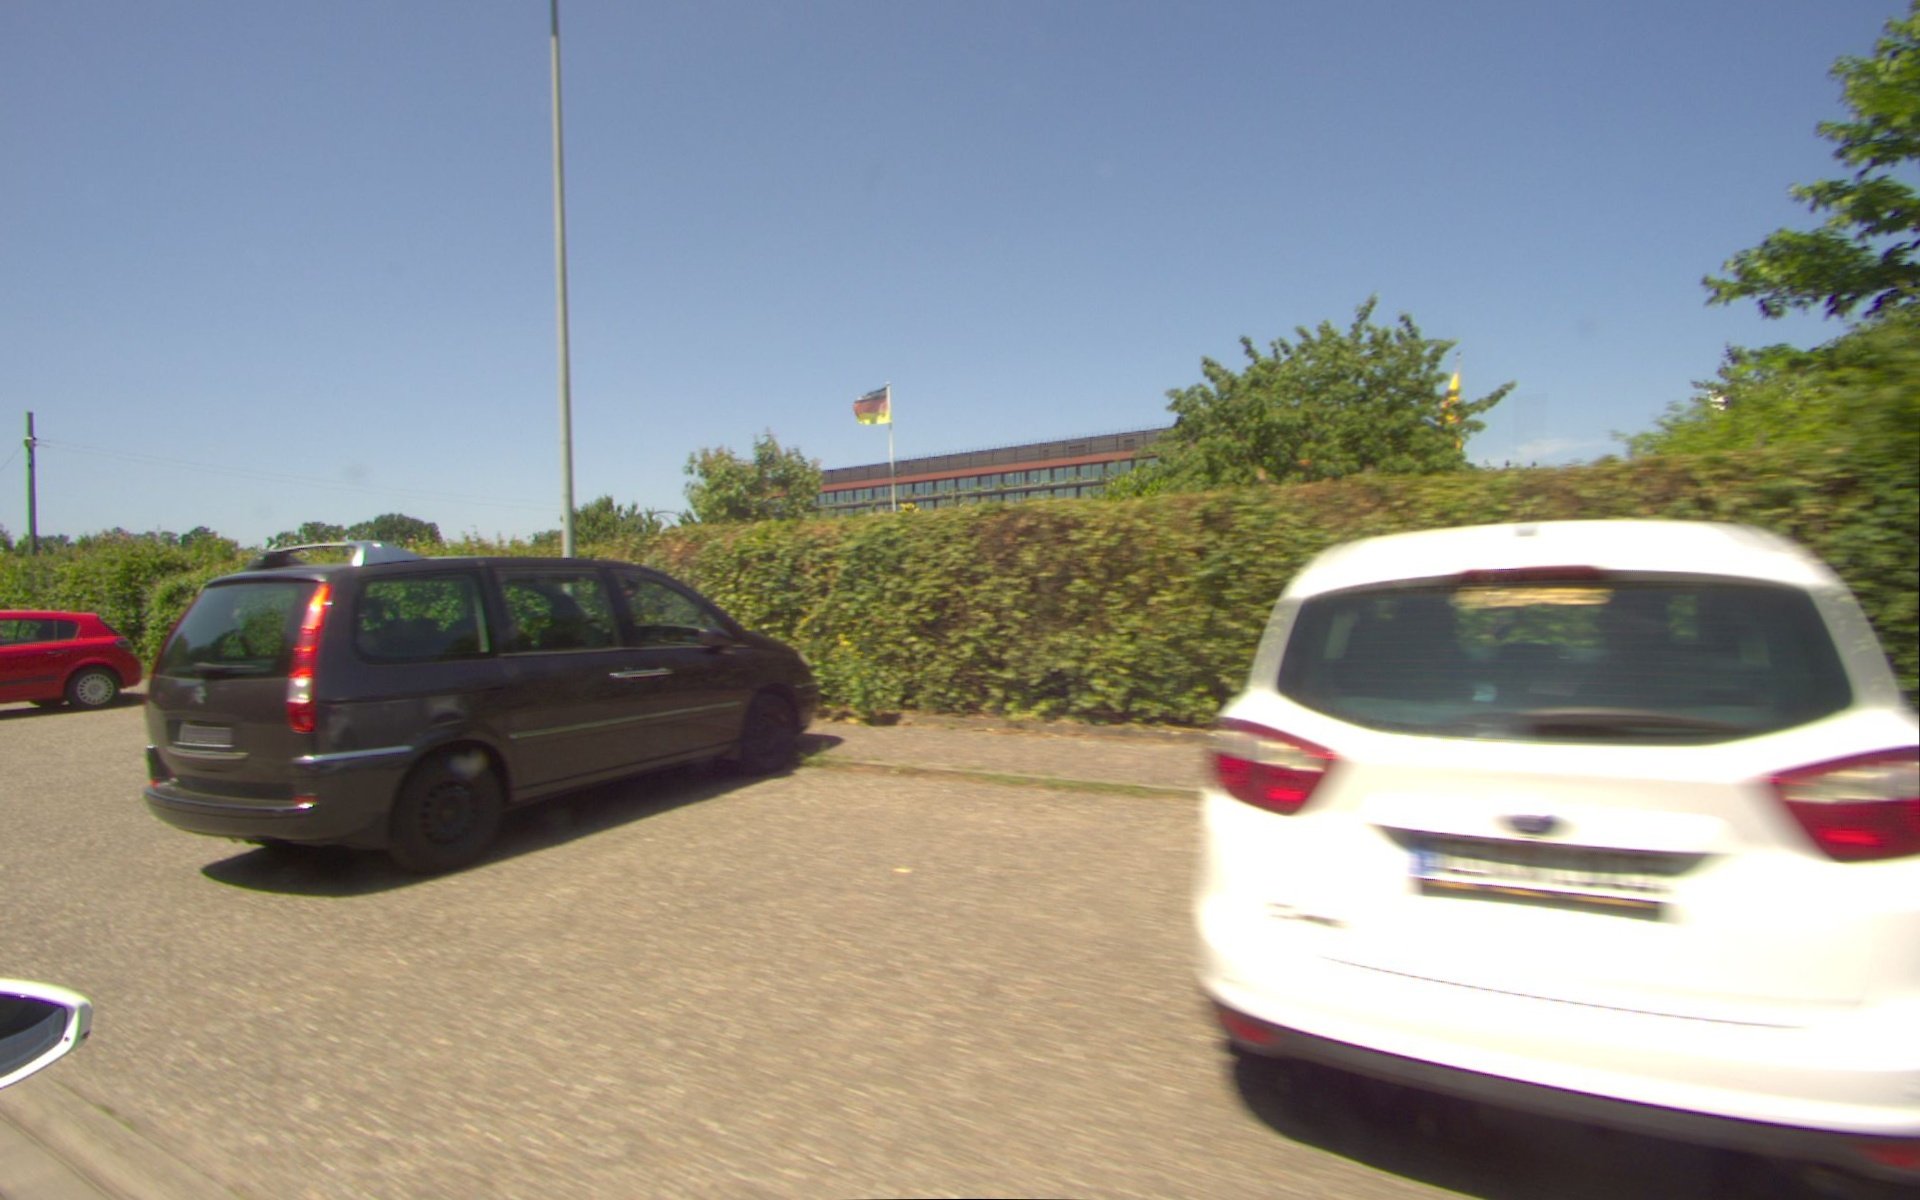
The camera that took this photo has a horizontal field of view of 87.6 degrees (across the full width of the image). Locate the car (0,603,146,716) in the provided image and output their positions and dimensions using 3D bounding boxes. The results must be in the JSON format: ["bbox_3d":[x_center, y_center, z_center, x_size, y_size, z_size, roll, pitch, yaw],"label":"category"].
[{"bbox_3d":[-13.892,0.852,13.548,1.807,1.454,4.047,0,2,28],"label":"car"}]

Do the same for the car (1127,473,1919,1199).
[{"bbox_3d":[2.219,0.500,3.944,1.739,1.600,4.268,0,2,29],"label":"car"}]

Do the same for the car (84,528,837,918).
[{"bbox_3d":[-2.952,0.516,7.099,1.922,1.829,4.447,-1,2,27],"label":"car"}]
